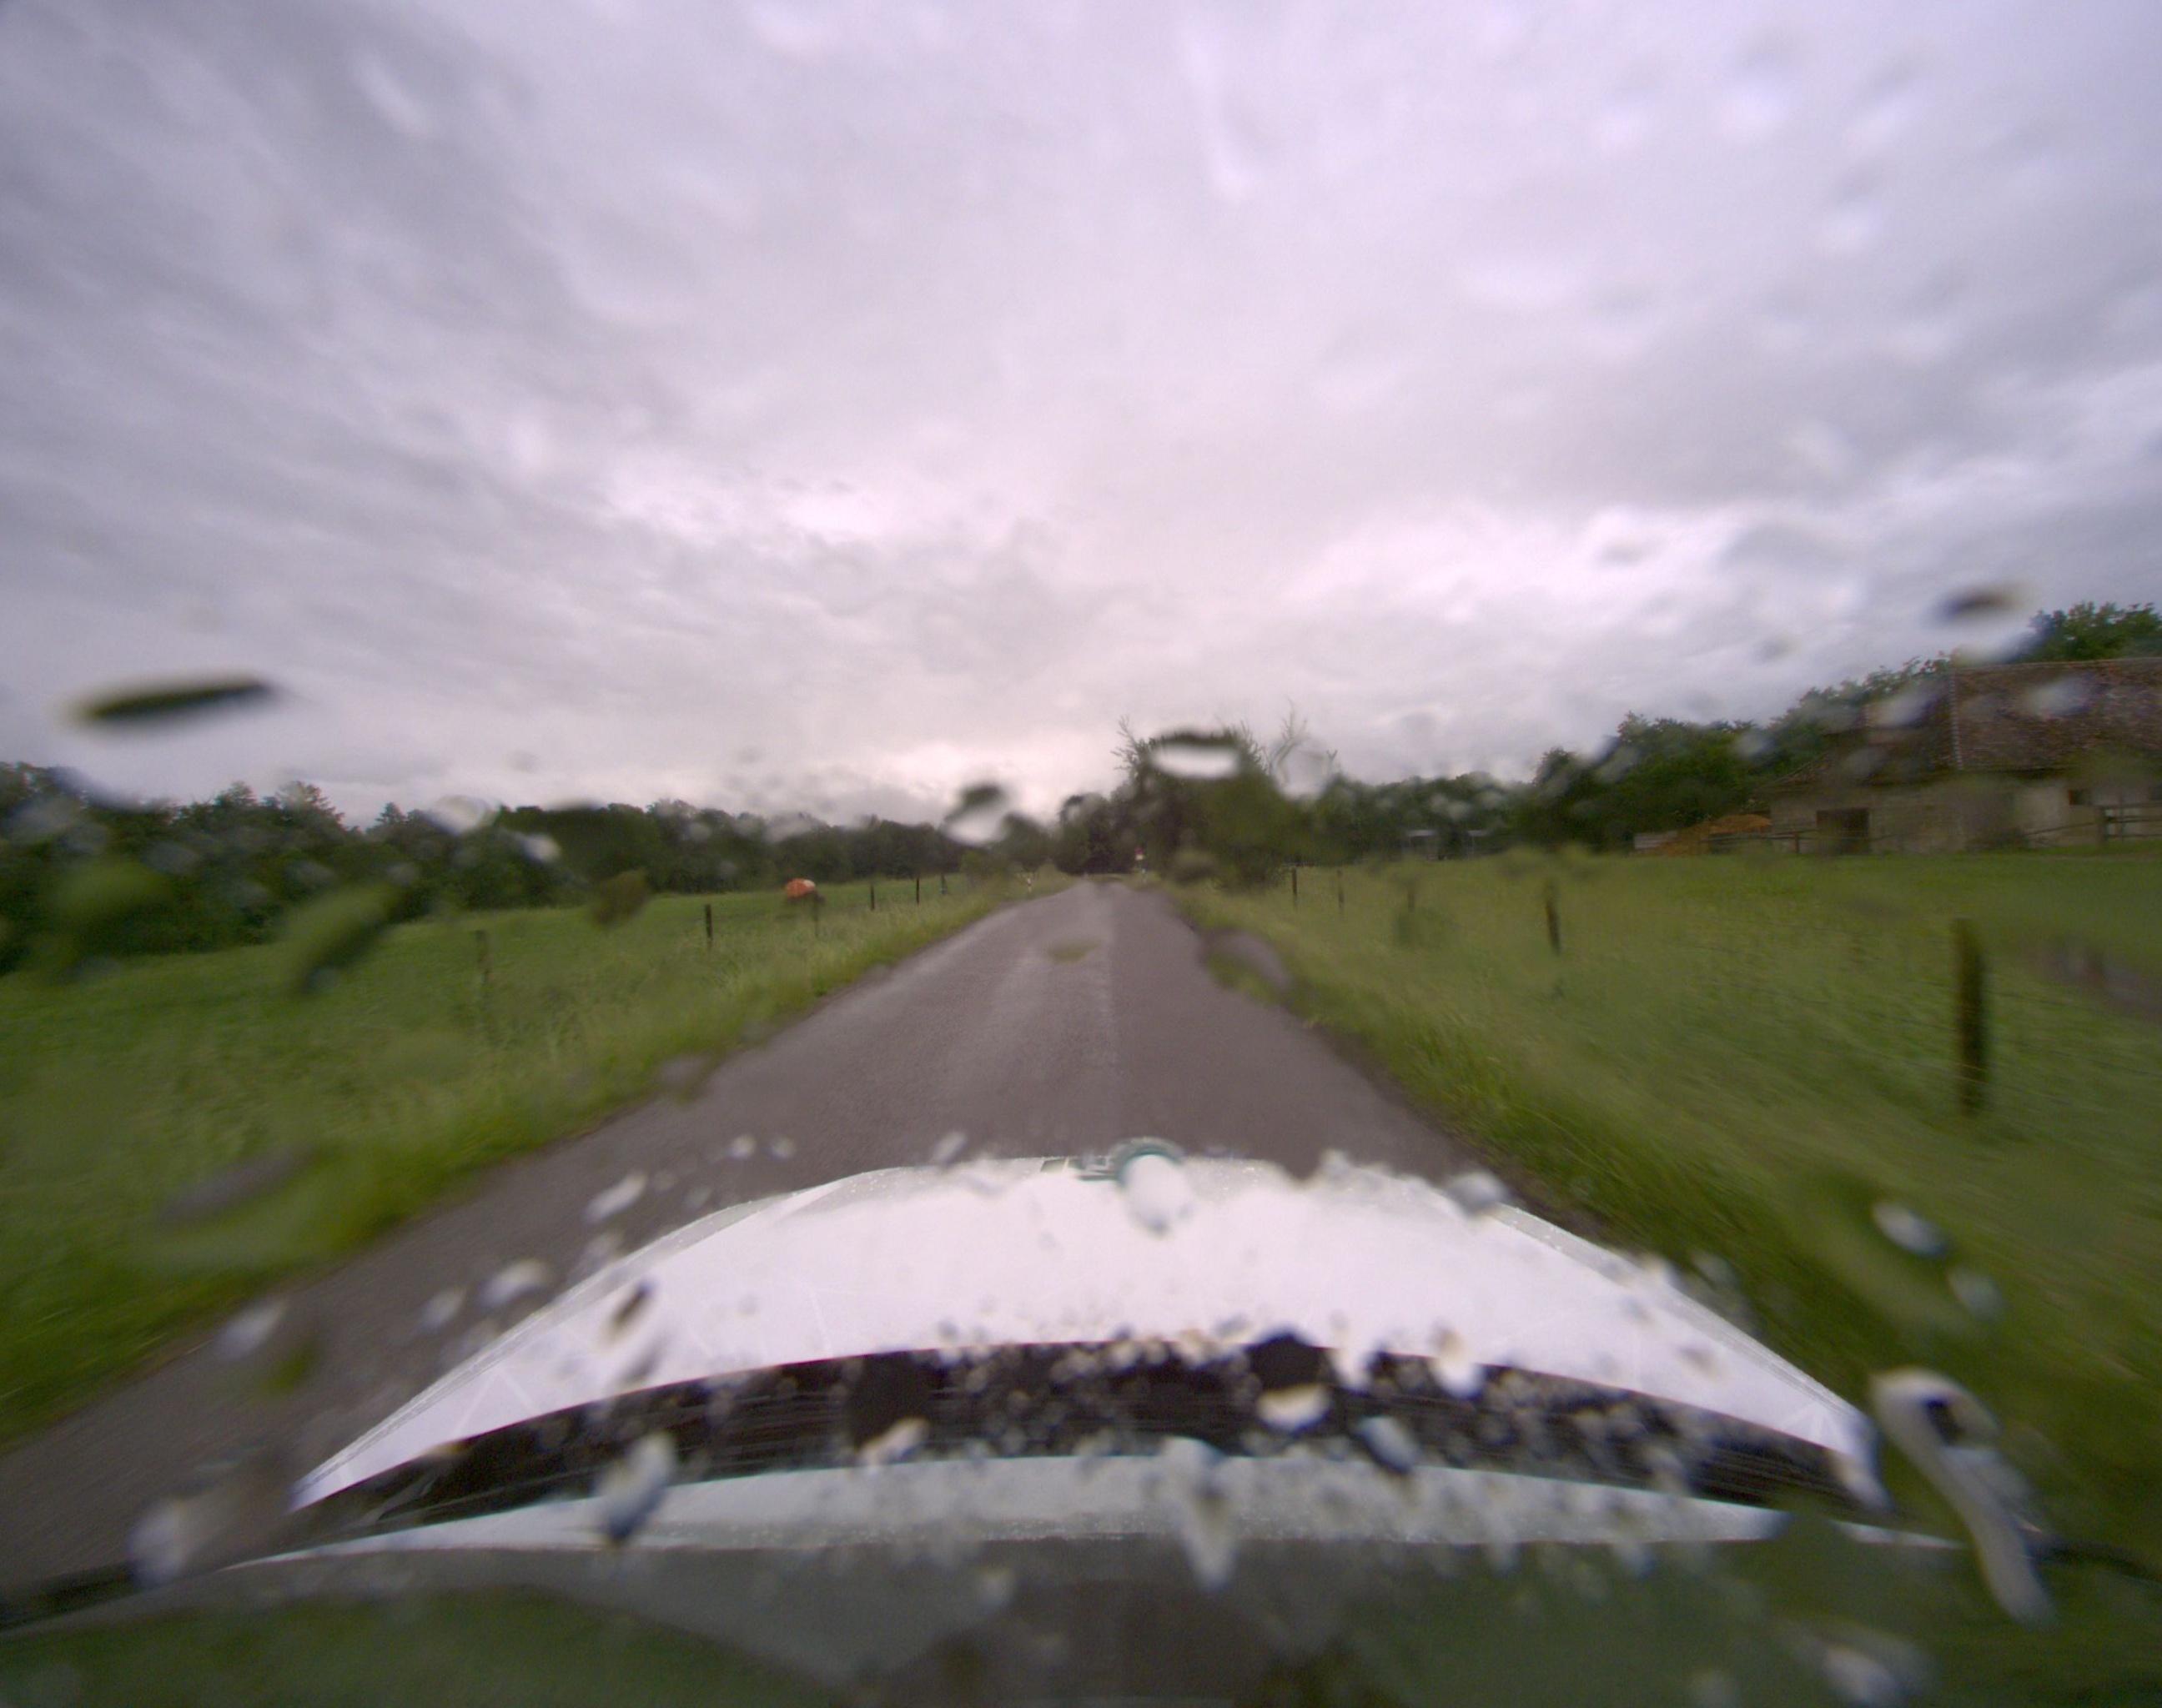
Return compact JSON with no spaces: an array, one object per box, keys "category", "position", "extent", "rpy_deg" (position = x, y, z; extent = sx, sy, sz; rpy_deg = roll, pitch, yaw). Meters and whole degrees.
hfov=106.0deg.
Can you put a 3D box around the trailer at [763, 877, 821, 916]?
[{"category":"trailer","position":[-12.629,1.818,35.756],"extent":[1.751,1.505,3.080],"rpy_deg":[-3,0,-9]}]
